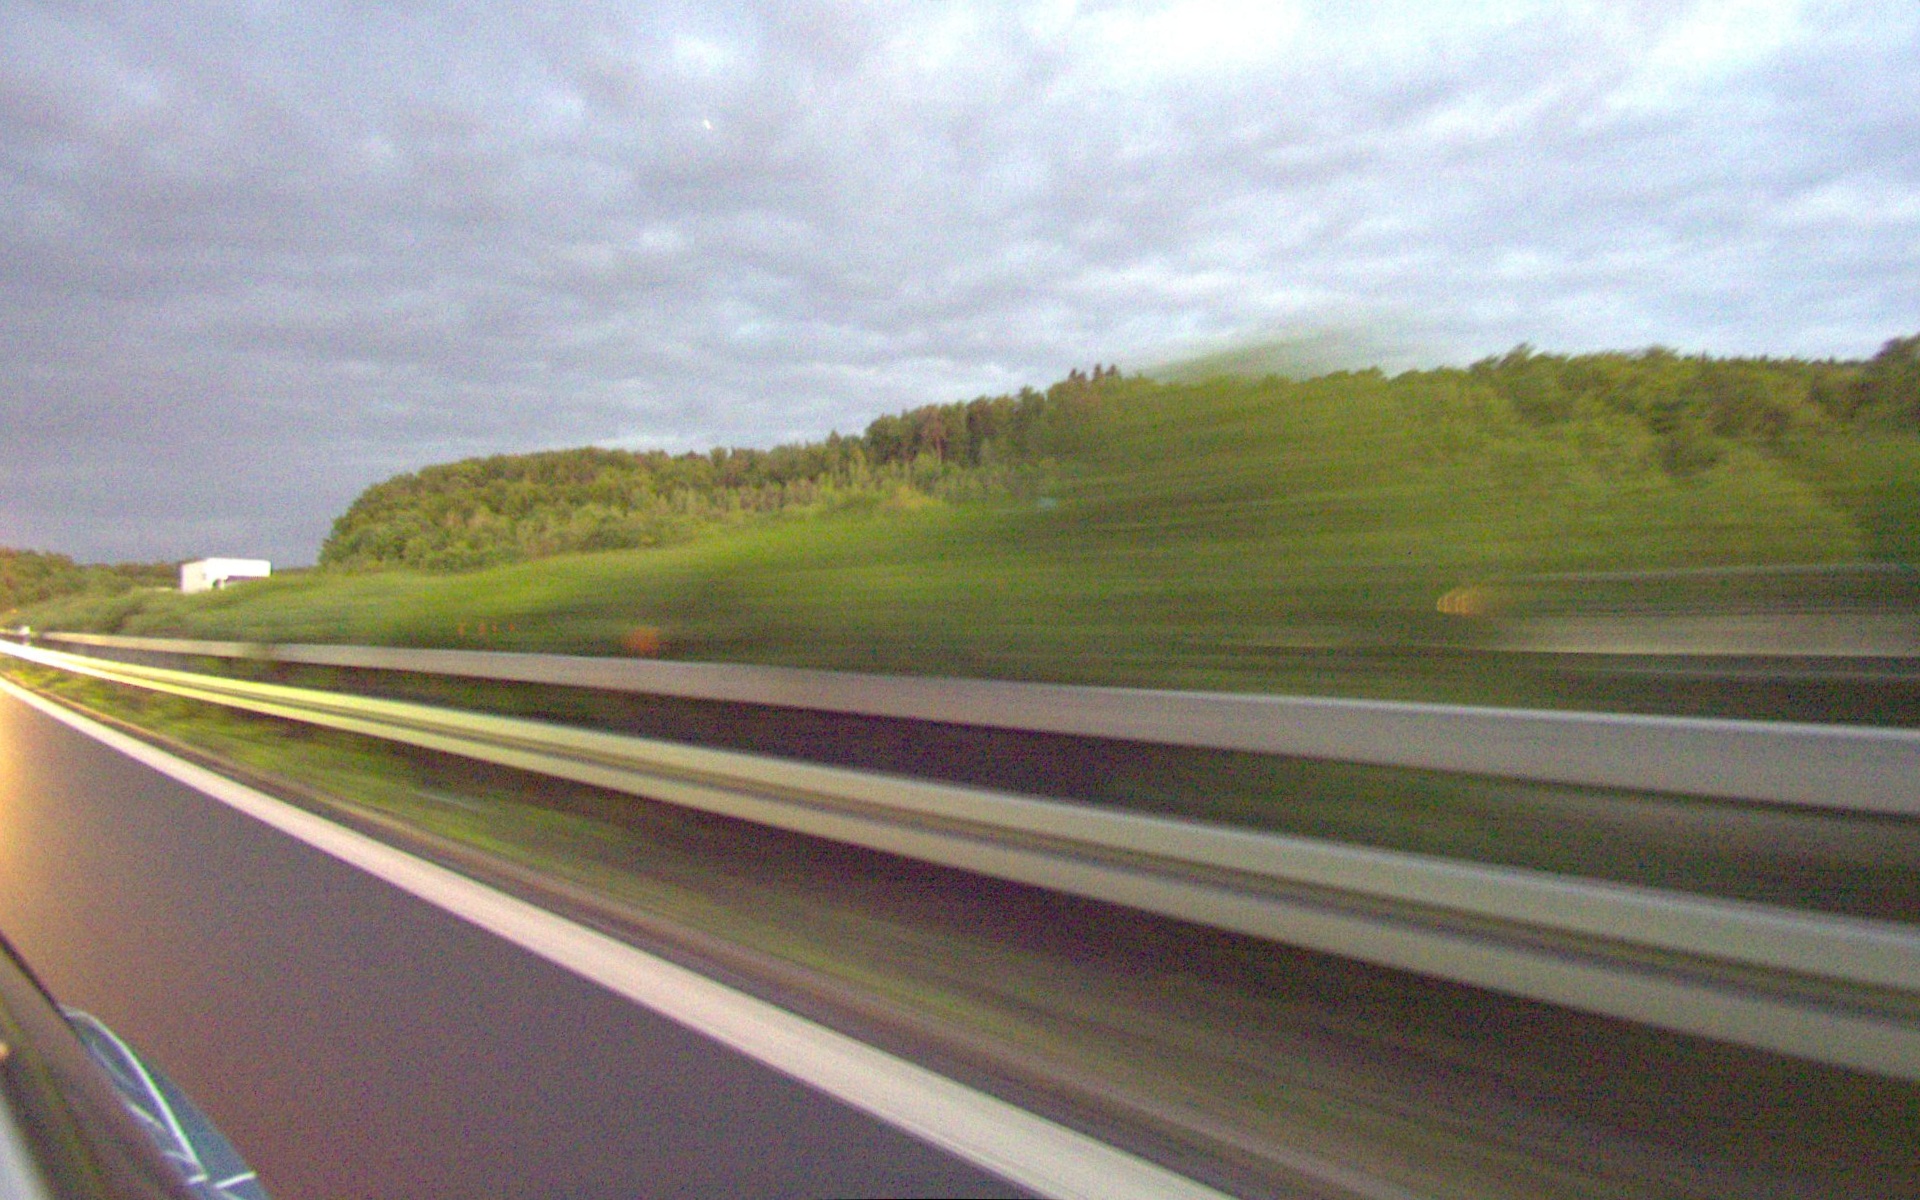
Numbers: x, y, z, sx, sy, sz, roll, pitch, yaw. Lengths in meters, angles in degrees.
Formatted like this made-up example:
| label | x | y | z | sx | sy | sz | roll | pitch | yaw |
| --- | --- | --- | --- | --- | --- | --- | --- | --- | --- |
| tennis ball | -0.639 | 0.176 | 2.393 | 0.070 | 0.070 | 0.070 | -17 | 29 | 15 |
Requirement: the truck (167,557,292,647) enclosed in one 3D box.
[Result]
| label | x | y | z | sx | sy | sz | roll | pitch | yaw |
| --- | --- | --- | --- | --- | --- | --- | --- | --- | --- |
| truck | -38.466 | 0.140 | 53.119 | 9.884 | 4.333 | 3.007 | -1 | 0 | 40 |
